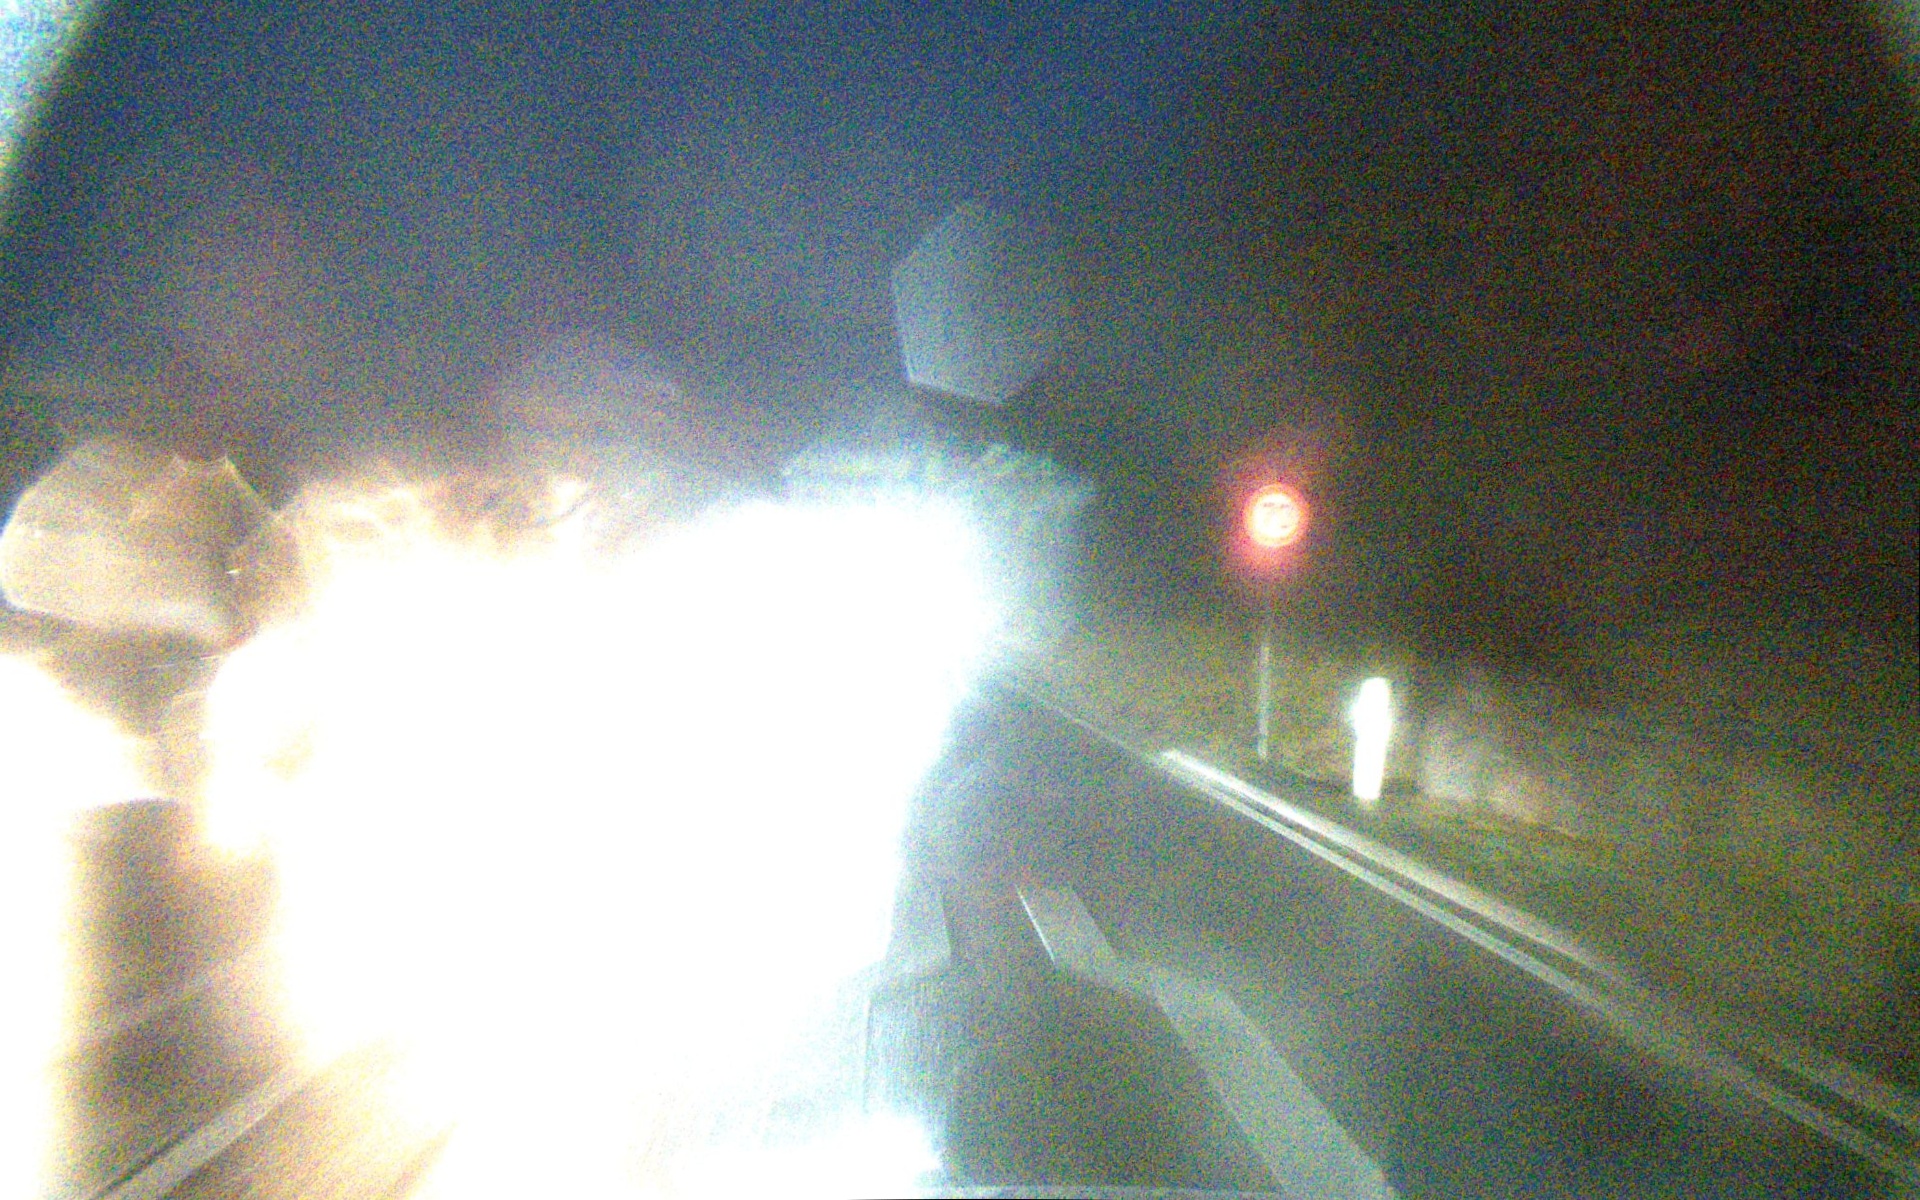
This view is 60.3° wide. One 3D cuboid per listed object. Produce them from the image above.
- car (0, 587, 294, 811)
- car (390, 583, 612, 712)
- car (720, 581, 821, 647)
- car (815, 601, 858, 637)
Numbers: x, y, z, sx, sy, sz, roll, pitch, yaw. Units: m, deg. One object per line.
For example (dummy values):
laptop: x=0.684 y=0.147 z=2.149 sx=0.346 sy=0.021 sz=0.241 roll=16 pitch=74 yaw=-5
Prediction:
car: x=-7.643 y=0.684 z=13.750 sx=2.040 sy=1.569 sz=4.900 roll=1 pitch=0 yaw=2
car: x=-7.409 y=0.708 z=27.317 sx=1.952 sy=1.897 sz=5.321 roll=1 pitch=0 yaw=2
car: x=-4.896 y=0.357 z=43.414 sx=2.067 sy=1.603 sz=4.679 roll=1 pitch=0 yaw=0
car: x=-6.038 y=0.913 z=81.263 sx=1.884 sy=1.643 sz=4.083 roll=1 pitch=0 yaw=-2
